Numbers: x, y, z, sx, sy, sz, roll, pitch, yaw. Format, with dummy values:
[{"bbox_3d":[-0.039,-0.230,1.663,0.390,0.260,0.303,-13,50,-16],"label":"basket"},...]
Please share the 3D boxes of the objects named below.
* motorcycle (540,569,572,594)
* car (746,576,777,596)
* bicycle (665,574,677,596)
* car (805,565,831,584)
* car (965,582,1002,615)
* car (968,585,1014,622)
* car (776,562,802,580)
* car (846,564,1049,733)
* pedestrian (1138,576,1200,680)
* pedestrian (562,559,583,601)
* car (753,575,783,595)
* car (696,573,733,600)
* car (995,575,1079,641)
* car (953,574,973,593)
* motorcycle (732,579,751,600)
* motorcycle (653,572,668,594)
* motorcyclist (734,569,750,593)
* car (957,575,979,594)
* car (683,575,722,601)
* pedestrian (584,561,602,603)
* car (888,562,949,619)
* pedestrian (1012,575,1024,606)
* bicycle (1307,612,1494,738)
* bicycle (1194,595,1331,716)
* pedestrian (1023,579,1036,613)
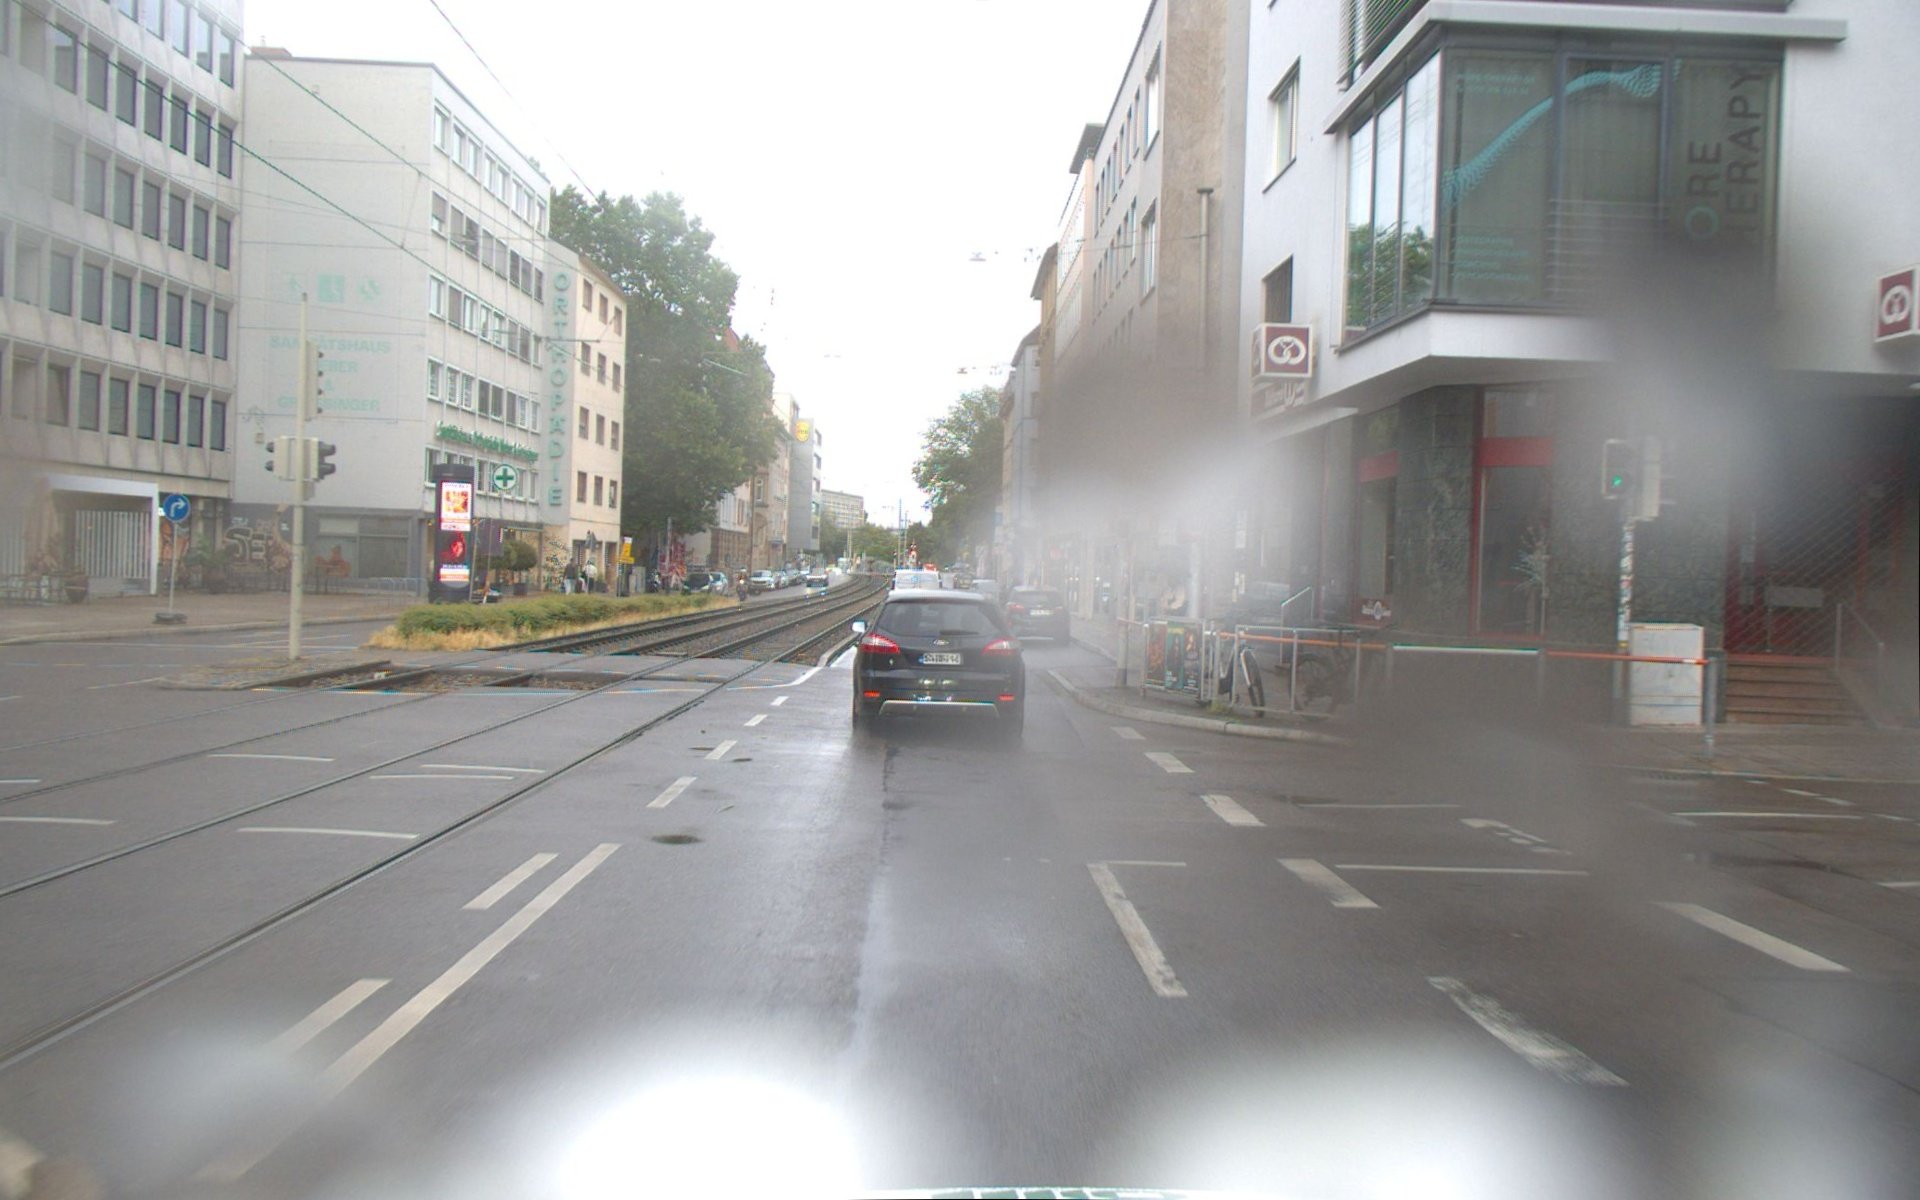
[{"bbox_3d":[-20.053,-0.916,82.106,1.447,1.200,0.386,2,1,-3],"label":"motorcycle"},{"bbox_3d":[-15.680,-1.120,130.549,1.953,1.545,4.434,2,1,-1],"label":"car"},{"bbox_3d":[-16.476,-0.847,94.379,0.580,1.248,2.399,2,0,-8],"label":"bicycle"},{"bbox_3d":[-12.707,-2.289,148.418,1.953,1.545,4.443,2,-1,-1],"label":"car"},{"bbox_3d":[1.218,-0.092,86.639,1.711,1.549,4.354,2,1,-1],"label":"car"},{"bbox_3d":[1.361,0.155,75.160,1.953,1.622,4.571,1,0,-1],"label":"car"},{"bbox_3d":[-15.731,-2.665,152.478,1.953,1.545,4.675,2,1,-1],"label":"car"},{"bbox_3d":[-0.140,0.470,18.272,1.953,1.622,4.271,1,0,-1],"label":"car"},{"bbox_3d":[3.284,0.431,26.015,0.650,1.610,0.774,1,0,-23],"label":"pedestrian"},{"bbox_3d":[-18.074,-0.913,77.168,0.712,1.929,0.983,2,0,-1],"label":"pedestrian"},{"bbox_3d":[-15.655,-1.221,135.137,1.953,1.545,4.208,2,1,-1],"label":"car"},{"bbox_3d":[-15.132,-0.840,102.190,1.687,1.597,4.219,2,1,-1],"label":"car"},{"bbox_3d":[1.989,0.195,43.763,1.953,1.622,4.271,1,0,-1],"label":"car"},{"bbox_3d":[0.232,-1.474,142.989,1.609,1.542,4.038,2,1,-2],"label":"car"},{"bbox_3d":[-11.812,-0.556,89.518,0.727,1.078,1.932,2,0,1],"label":"motorcycle"},{"bbox_3d":[-19.538,-1.098,107.866,0.626,1.403,2.119,2,1,-3],"label":"motorcycle"},{"bbox_3d":[-11.797,-1.013,89.487,0.726,1.239,0.970,2,0,1],"label":"motorcyclist"},{"bbox_3d":[0.660,-1.308,138.501,1.703,1.515,3.999,2,1,-2],"label":"car"},{"bbox_3d":[-15.120,-0.715,97.245,1.708,1.494,4.219,0,1,-1],"label":"car"},{"bbox_3d":[-17.125,-0.823,77.193,0.665,1.929,0.742,2,0,-1],"label":"pedestrian"},{"bbox_3d":[-1.370,-0.307,56.178,1.953,1.848,4.271,1,0,-1],"label":"car"},{"bbox_3d":[3.588,-0.586,102.069,0.648,1.884,0.821,2,1,-2],"label":"pedestrian"},{"bbox_3d":[4.585,0.756,17.327,0.572,1.177,1.931,2,0,-37],"label":"bicycle"},{"bbox_3d":[3.453,0.609,19.051,0.491,1.281,1.941,2,0,-25],"label":"bicycle"},{"bbox_3d":[4.297,-0.257,102.310,0.721,2.048,0.821,2,1,-2],"label":"pedestrian"}]
